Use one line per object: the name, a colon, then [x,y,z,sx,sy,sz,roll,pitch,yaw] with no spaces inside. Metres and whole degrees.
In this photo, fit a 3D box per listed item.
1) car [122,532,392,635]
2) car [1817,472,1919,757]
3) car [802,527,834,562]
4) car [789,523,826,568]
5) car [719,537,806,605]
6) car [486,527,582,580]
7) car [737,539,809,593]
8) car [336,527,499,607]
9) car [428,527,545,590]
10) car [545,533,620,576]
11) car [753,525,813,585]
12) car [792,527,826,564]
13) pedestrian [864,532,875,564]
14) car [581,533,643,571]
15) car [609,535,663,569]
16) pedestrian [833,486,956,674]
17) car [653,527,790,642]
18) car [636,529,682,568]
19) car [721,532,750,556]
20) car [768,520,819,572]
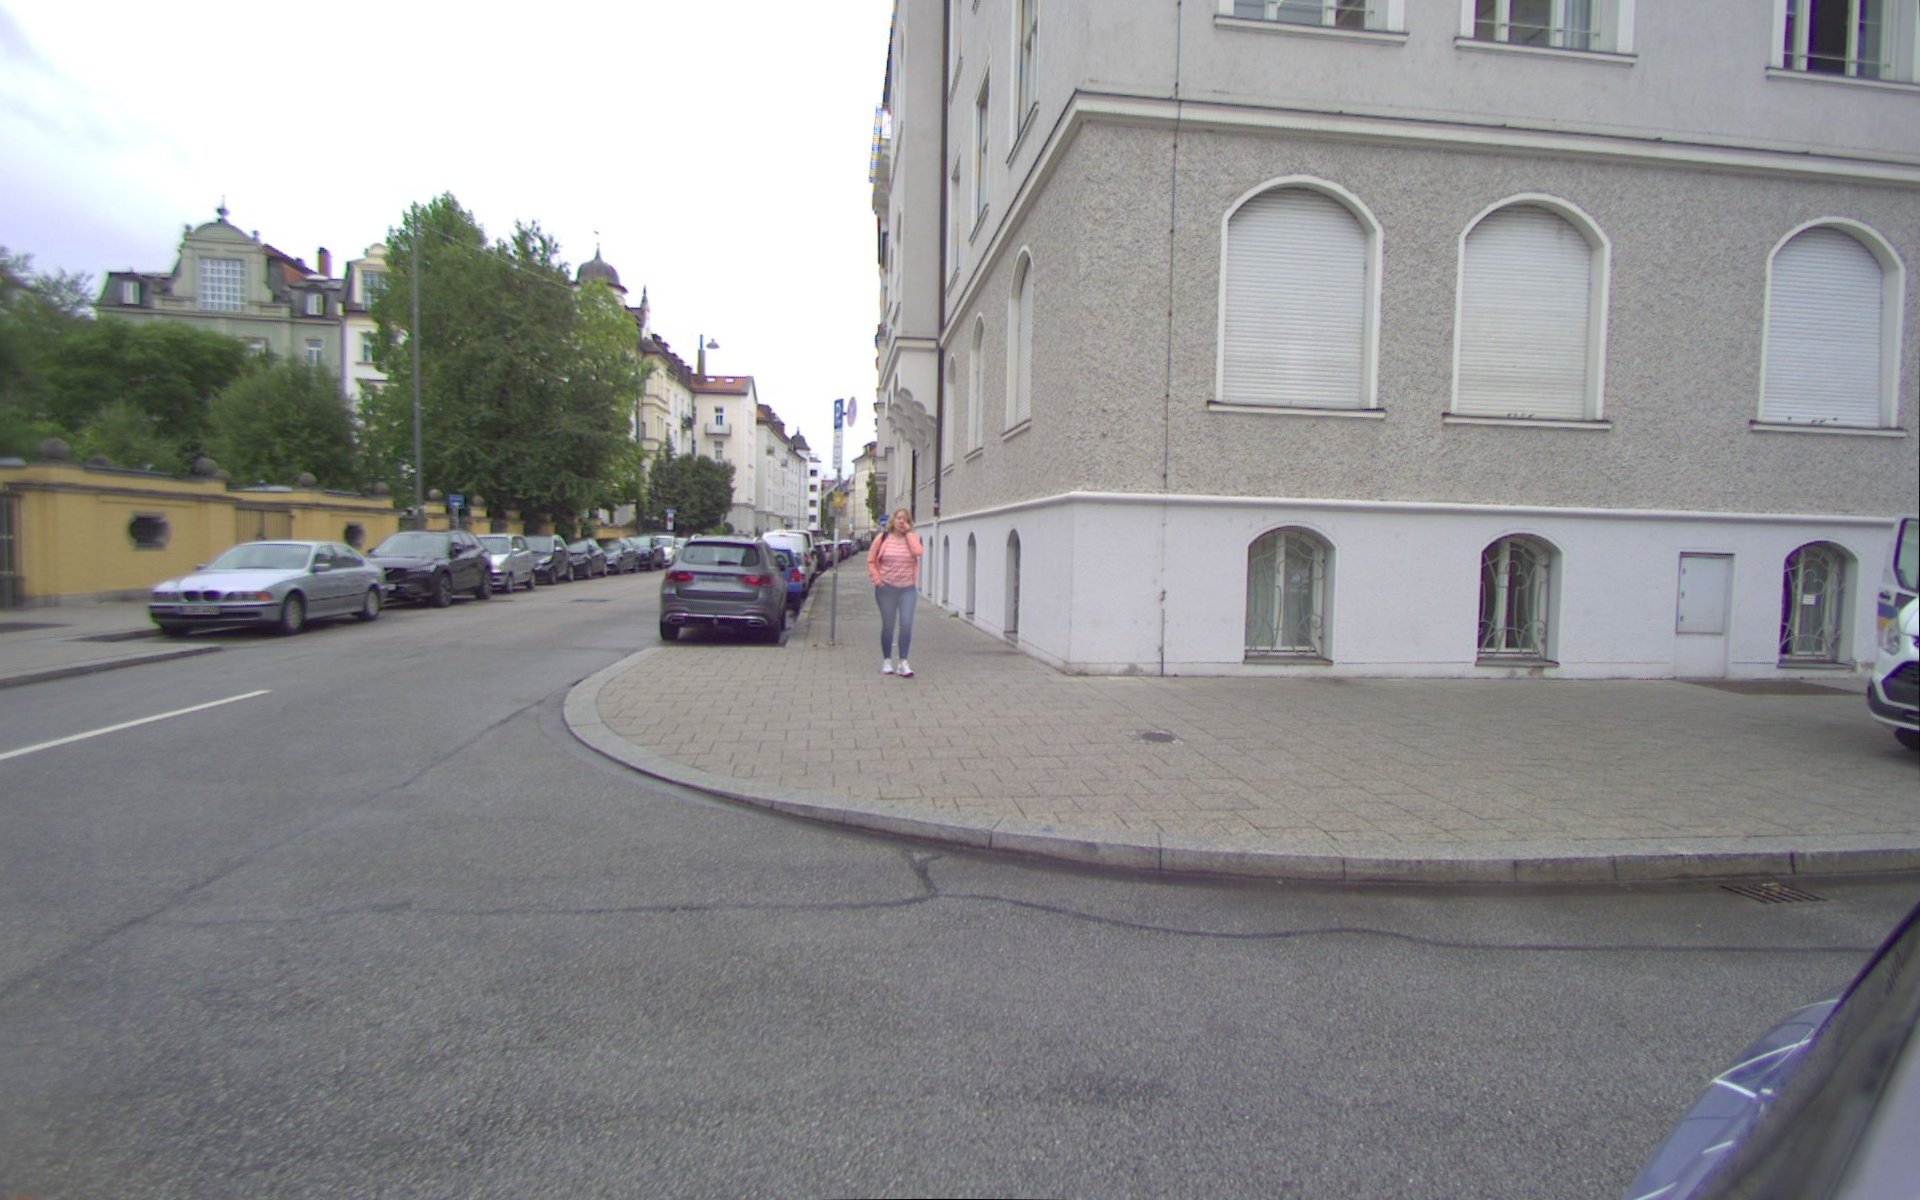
car: [-11.062,-0.367,16.397,1.787,1.419,4.583,0,3,-9]
car: [9.146,0.134,7.177,4.825,1.985,1.927,0,4,-10]
car: [-9.009,-3.527,64.178,1.853,2.060,4.430,1,3,-8]
car: [-8.158,-2.955,54.406,1.853,2.284,4.430,1,3,-8]
car: [-4.735,-0.777,24.784,1.853,1.481,4.431,1,3,-8]
car: [-13.461,-1.504,32.277,1.788,1.548,4.413,0,3,-9]
car: [-5.364,-1.041,29.439,1.853,1.391,4.431,1,3,-8]
car: [-11.750,-0.788,22.283,1.787,1.548,4.583,0,3,-9]
car: [-12.781,-1.181,27.622,1.787,1.548,4.414,0,3,-10]
car: [-13.817,-1.713,37.286,1.738,1.461,4.413,0,3,-9]
car: [-5.988,-1.590,34.632,1.853,1.875,4.431,1,3,-8]
car: [-8.822,-3.223,59.395,1.853,2.060,4.430,1,3,-8]
pedestrian: [-5.701,-3.284,63.860,0.696,2.038,0.710,0,3,-6]
car: [-14.294,-2.003,41.756,1.738,1.461,4.076,0,3,-9]
car: [-14.699,-2.217,46.127,1.738,1.461,4.076,0,3,-9]
pedestrian: [-0.673,-0.238,10.859,1.189,1.895,1.091,1,3,3]
car: [-3.861,-0.358,17.065,1.853,1.635,4.431,1,3,-8]
car: [-15.328,-2.648,51.694,1.738,1.907,4.076,0,3,-9]
car: [-17.420,-4.354,78.706,1.739,1.824,4.352,1,3,-6]
car: [-6.630,-2.175,40.568,1.853,1.906,4.431,1,3,-8]
